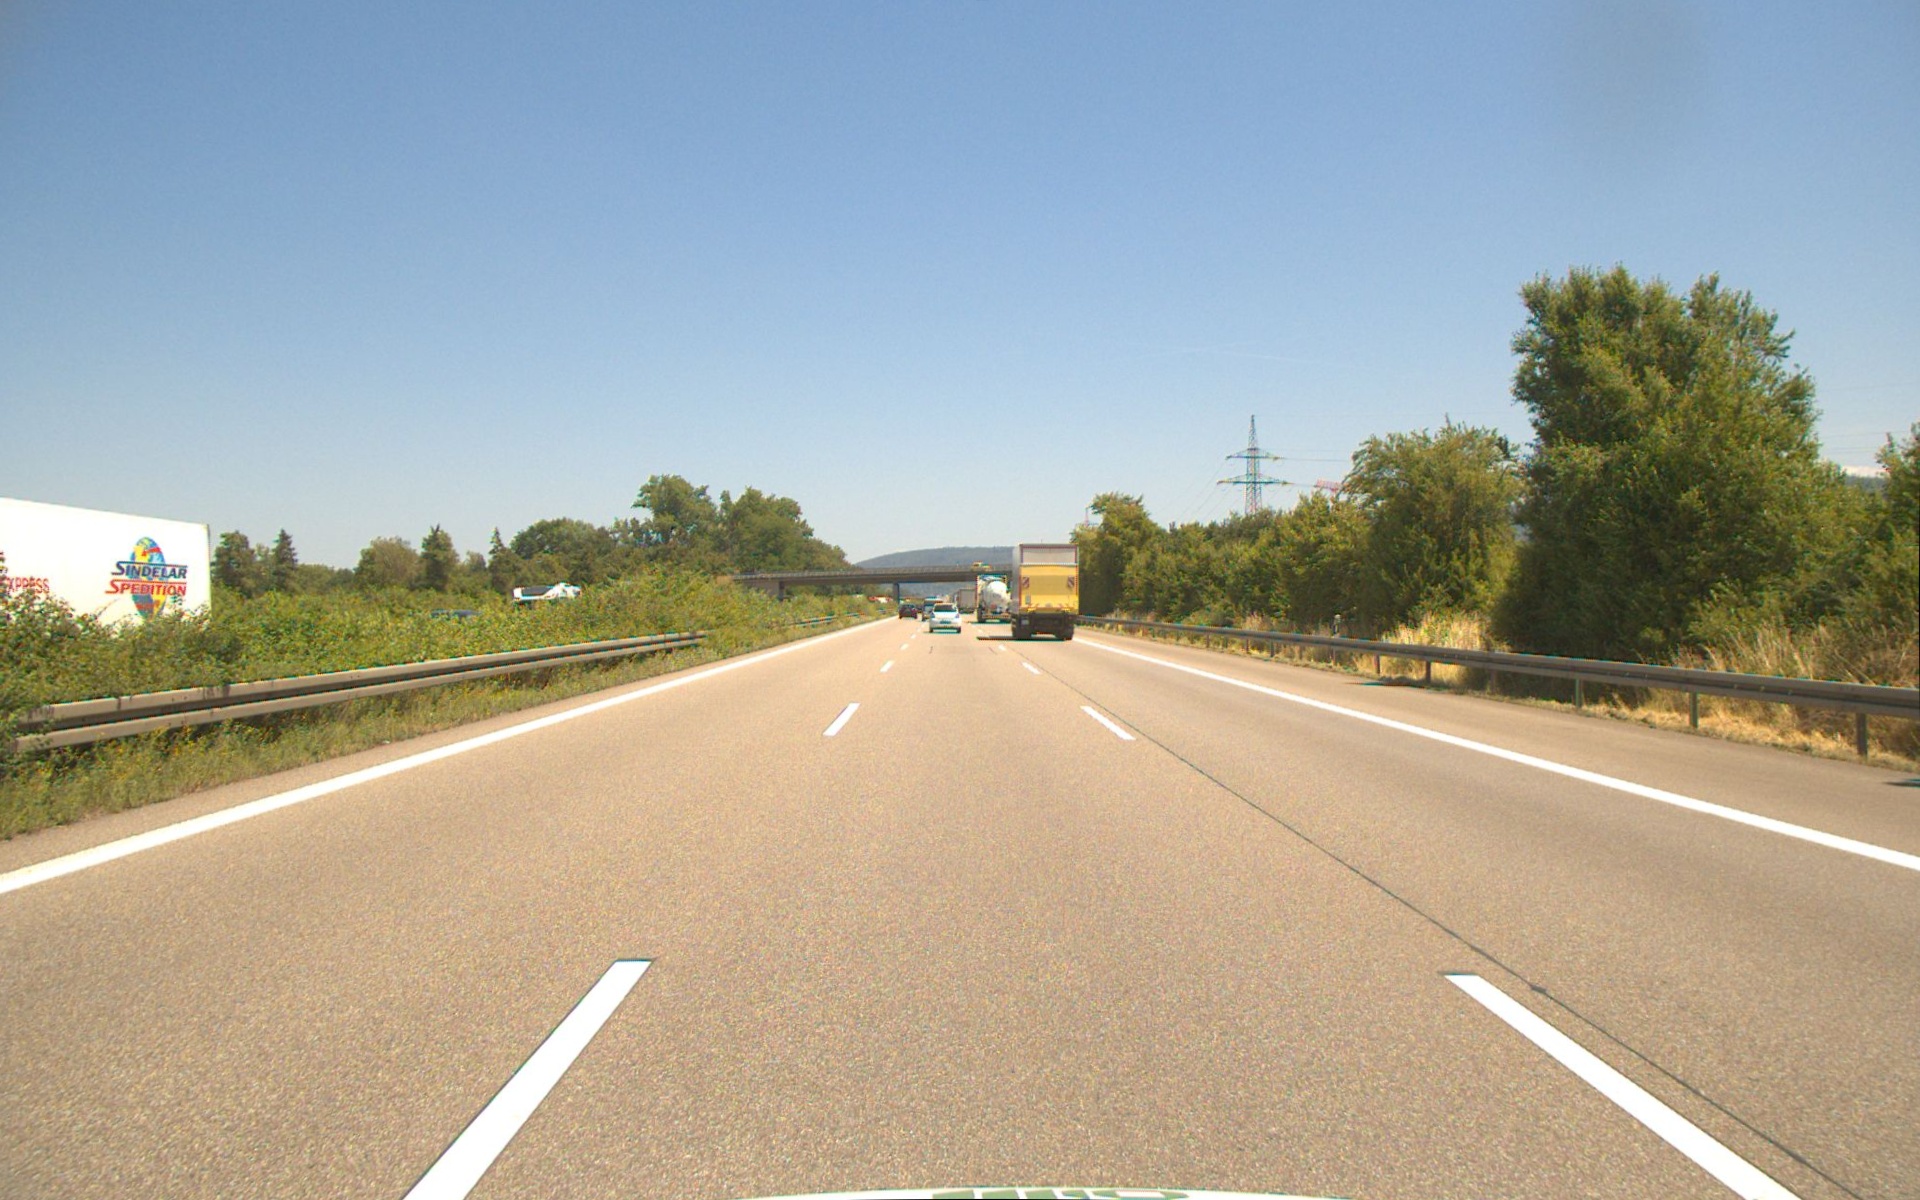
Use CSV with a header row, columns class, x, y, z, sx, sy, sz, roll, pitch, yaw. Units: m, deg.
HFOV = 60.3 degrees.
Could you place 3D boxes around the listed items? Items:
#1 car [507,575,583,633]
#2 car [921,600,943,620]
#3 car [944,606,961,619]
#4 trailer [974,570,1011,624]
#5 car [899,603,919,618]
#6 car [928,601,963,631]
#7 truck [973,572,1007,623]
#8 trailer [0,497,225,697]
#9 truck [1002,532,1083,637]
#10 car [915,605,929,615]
class,x,y,z,sx,sy,sz,roll,pitch,yaw
car,-20.761,0.219,83.033,2.420,2.756,5.518,1,0,-1
car,-2.364,0.815,141.402,1.814,1.661,3.999,1,0,-1
car,-0.831,1.397,186.286,1.798,1.411,3.999,1,0,-1
trailer,2.585,-0.226,135.165,2.527,4.146,11.100,1,0,-1
car,-4.926,1.020,158.762,1.798,1.411,3.999,1,0,-1
car,-0.756,0.846,87.399,1.770,1.494,3.999,1,0,-1
truck,2.494,-0.214,140.004,2.521,4.143,6.391,1,0,-1
trailer,-20.397,-0.082,35.812,2.874,3.937,13.907,1,0,-1
truck,3.583,-0.626,74.181,2.874,4.273,10.679,1,0,-1
car,-5.255,1.376,228.573,1.798,1.411,3.999,1,0,-1
